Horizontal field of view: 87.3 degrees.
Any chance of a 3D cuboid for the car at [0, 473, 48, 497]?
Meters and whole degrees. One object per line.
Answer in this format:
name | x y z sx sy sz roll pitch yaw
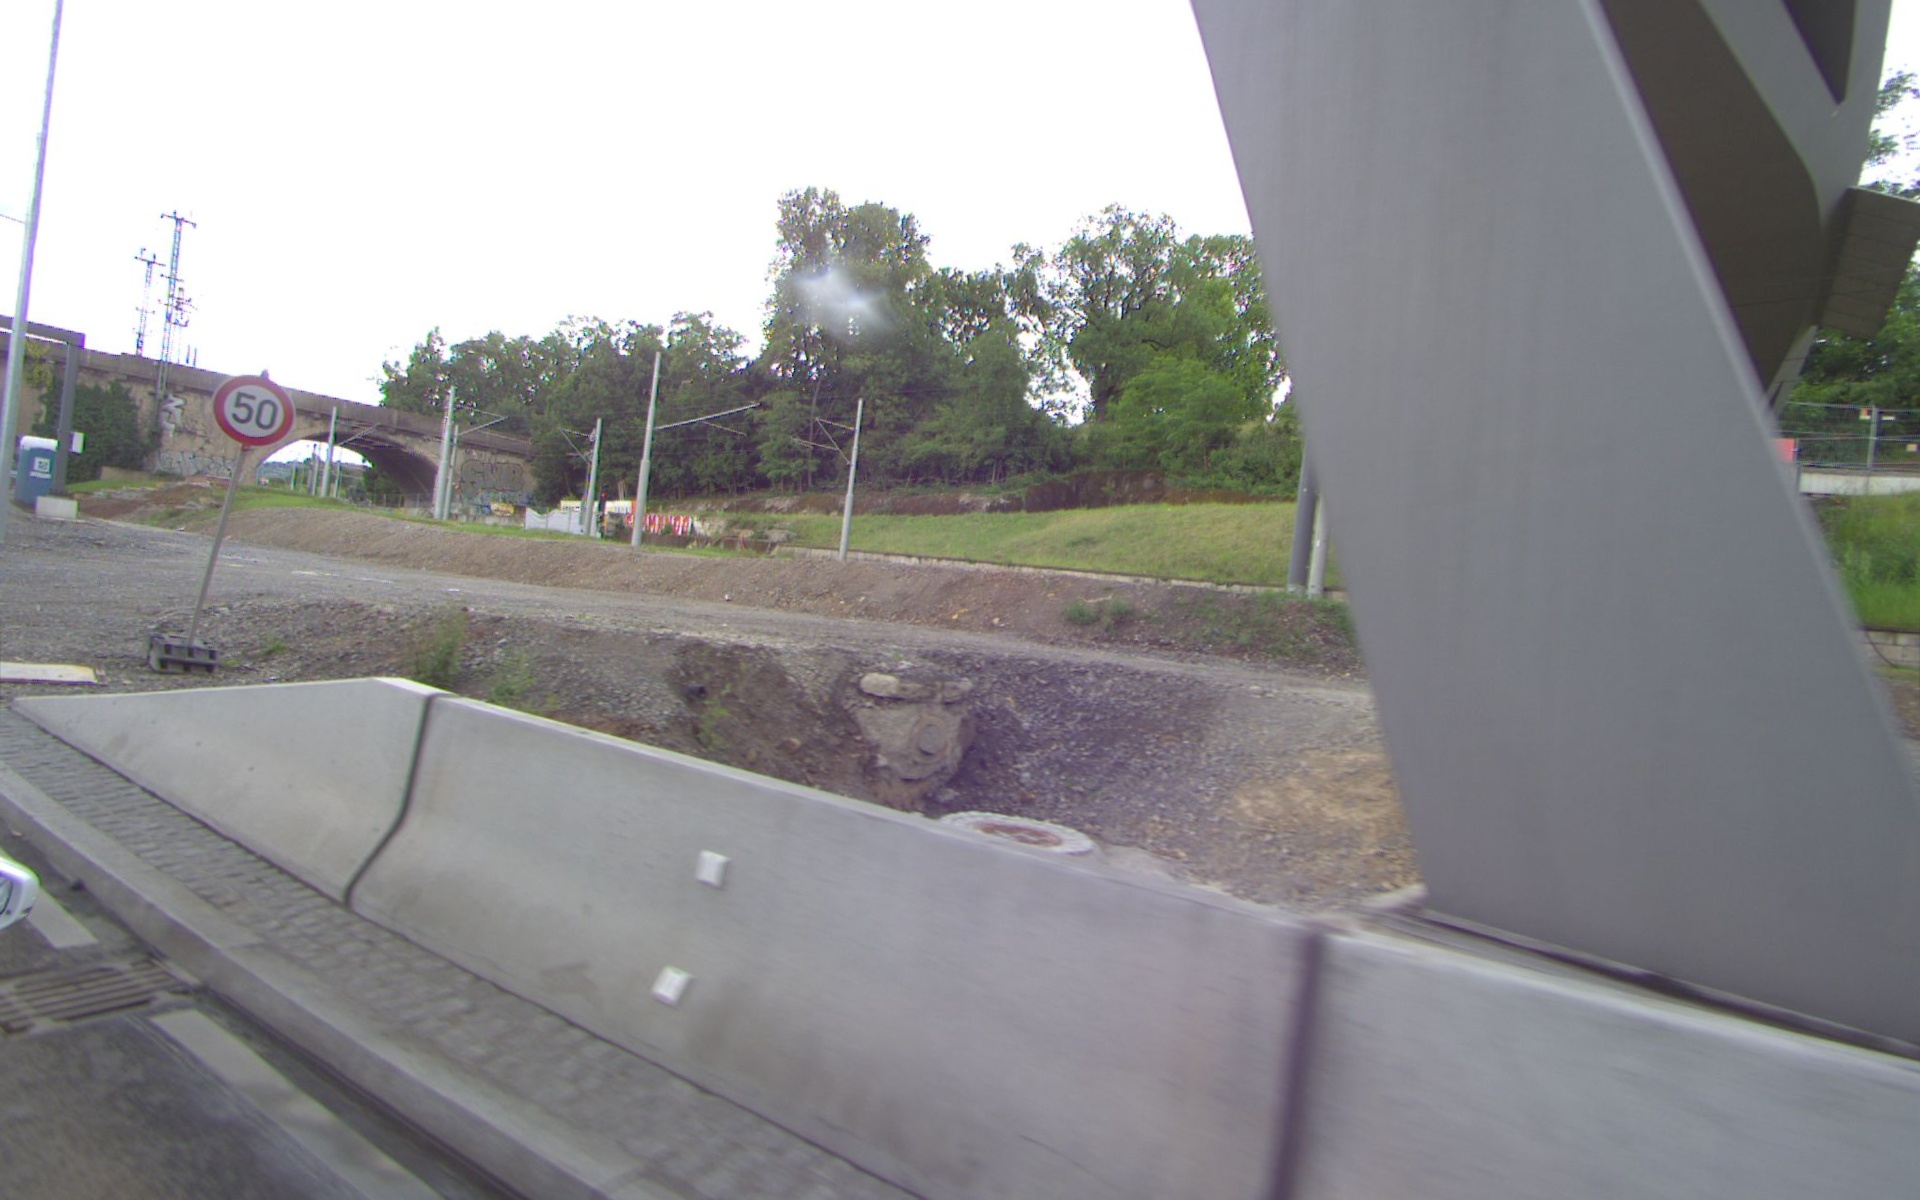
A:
car | -103.472 -12.693 110.748 1.868 1.829 4.490 7 -3 1
